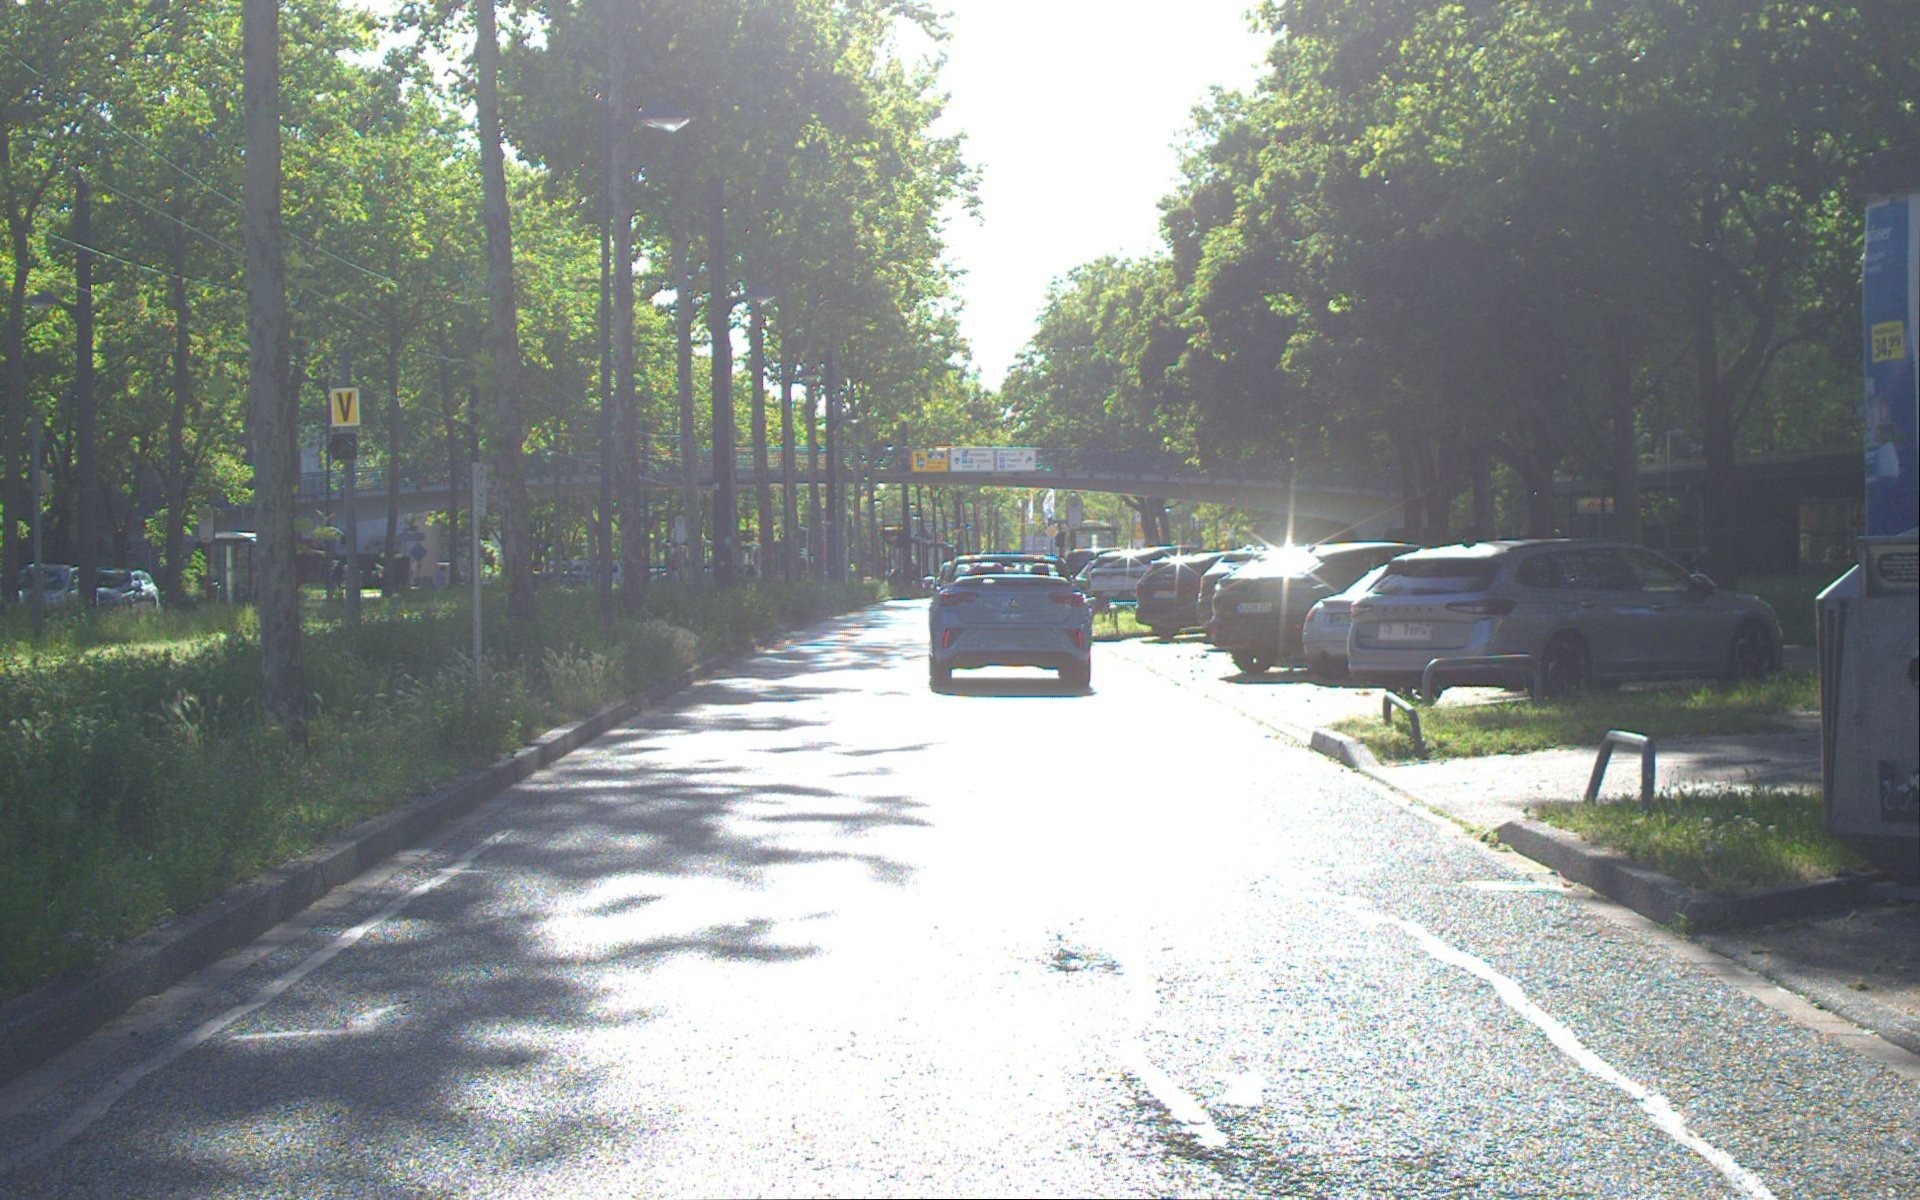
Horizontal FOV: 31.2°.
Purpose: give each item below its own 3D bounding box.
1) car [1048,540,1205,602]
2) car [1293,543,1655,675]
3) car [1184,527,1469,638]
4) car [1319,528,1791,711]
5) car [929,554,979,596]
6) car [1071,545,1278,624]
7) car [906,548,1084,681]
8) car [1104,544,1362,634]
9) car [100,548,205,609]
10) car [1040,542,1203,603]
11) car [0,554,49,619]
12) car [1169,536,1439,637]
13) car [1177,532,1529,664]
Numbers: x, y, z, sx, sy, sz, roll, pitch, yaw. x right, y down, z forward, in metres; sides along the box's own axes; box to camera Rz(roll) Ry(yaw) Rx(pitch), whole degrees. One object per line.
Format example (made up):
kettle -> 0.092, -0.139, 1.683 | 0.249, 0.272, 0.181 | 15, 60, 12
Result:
car -> 4.877, -0.841, 100.356 | 4.611, 1.762, 1.856 | 0, 1, -43
car -> 5.792, 0.080, 38.431 | 4.318, 1.293, 1.691 | -3, 1, -44
car -> 5.704, -0.286, 53.127 | 1.855, 1.564, 4.612 | -1, 1, 45
car -> 5.407, 0.133, 30.909 | 4.482, 1.438, 1.855 | -3, 1, -44
car -> -0.226, -0.965, 131.835 | 1.849, 1.530, 3.866 | 0, 1, 0
car -> 4.727, -0.354, 75.325 | 4.611, 1.674, 1.856 | 0, 1, -43
car -> 0.399, 0.126, 39.377 | 1.922, 1.406, 4.000 | 0, 1, 1
car -> 4.768, -0.205, 59.631 | 1.978, 1.454, 4.613 | 0, 1, 44
car -> -22.180, -0.607, 94.567 | 1.787, 1.584, 4.168 | 2, 1, 1
car -> 4.555, -0.772, 96.663 | 4.611, 1.674, 1.856 | 0, 1, -43
car -> -23.002, -0.344, 80.823 | 1.993, 1.448, 4.000 | 2, 1, 1
car -> 5.700, -0.245, 56.634 | 4.612, 1.564, 1.856 | -2, 1, -44
car -> 4.772, -0.044, 41.383 | 4.318, 1.420, 1.855 | -3, 1, -44
